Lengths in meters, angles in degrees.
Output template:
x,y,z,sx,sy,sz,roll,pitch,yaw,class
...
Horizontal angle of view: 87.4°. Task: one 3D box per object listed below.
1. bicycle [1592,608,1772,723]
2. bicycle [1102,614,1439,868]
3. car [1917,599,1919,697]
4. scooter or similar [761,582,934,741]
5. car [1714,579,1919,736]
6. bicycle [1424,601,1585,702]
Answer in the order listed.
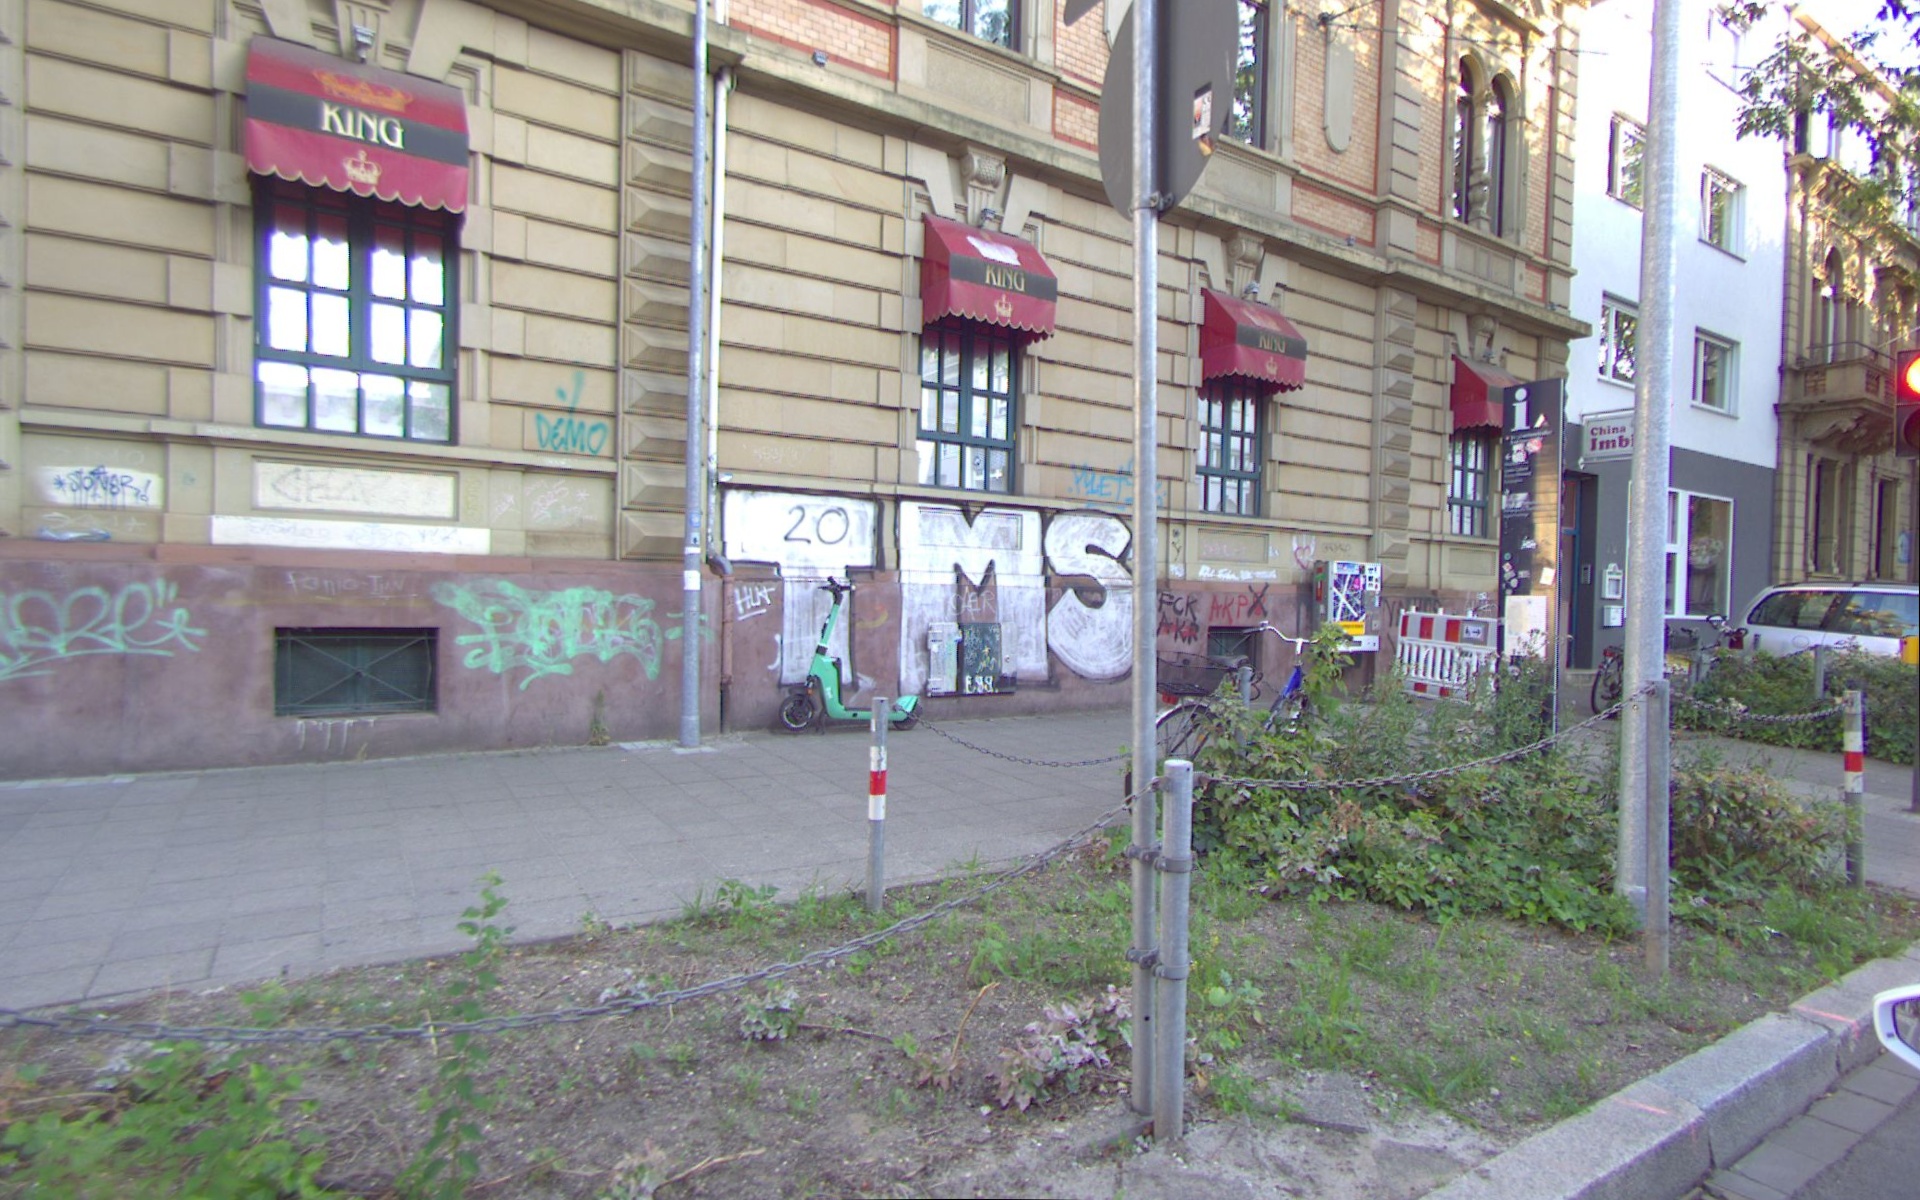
x,y,z,sx,sy,sz,roll,pitch,yaw,class
8.504,0.724,11.786,2.605,1.202,0.730,1,2,-32,bicycle
1.754,0.677,5.492,2.078,1.169,0.507,1,3,-33,bicycle
18.660,0.878,16.074,1.812,1.711,4.524,1,0,-31,car
-0.888,0.470,7.950,1.268,1.184,0.437,1,2,-21,scooter or similar
12.245,0.702,12.257,1.815,1.859,4.518,1,0,-35,car
7.113,0.644,13.060,2.534,1.218,0.633,1,0,-31,bicycle
